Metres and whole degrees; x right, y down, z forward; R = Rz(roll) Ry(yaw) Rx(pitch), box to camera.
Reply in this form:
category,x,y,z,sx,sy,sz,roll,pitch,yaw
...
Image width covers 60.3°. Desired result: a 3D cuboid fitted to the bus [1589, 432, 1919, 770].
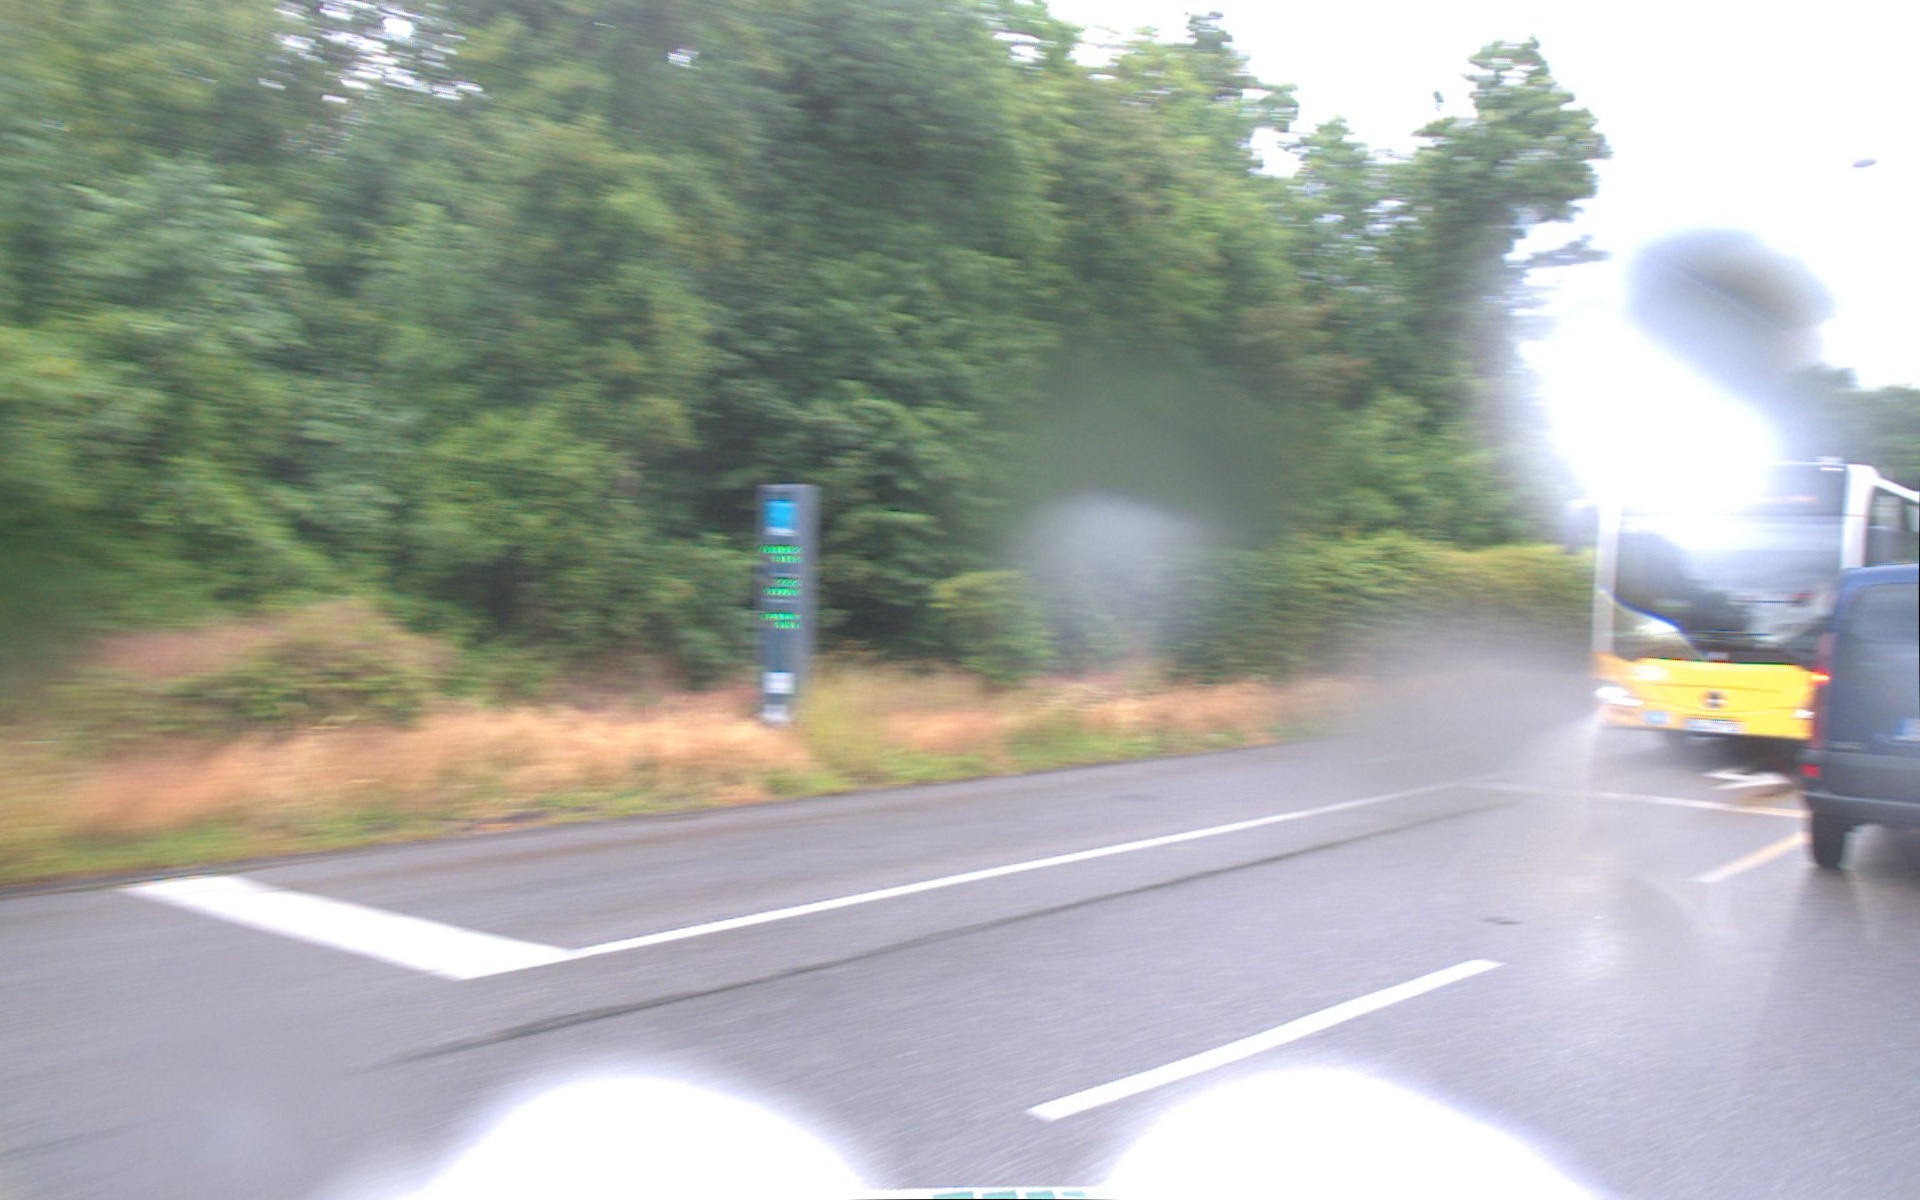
category,x,y,z,sx,sy,sz,roll,pitch,yaw
bus,10.217,0.067,19.637,2.601,3.098,9.189,2,0,37

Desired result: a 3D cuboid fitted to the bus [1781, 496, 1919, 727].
category,x,y,z,sx,sy,sz,roll,pitch,yaw
bus,15.610,0.229,26.745,2.553,3.213,8.598,2,0,37

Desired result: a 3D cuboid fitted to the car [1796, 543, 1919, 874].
category,x,y,z,sx,sy,sz,roll,pitch,yaw
car,6.685,0.642,10.627,1.778,1.829,3.985,1,-1,35
